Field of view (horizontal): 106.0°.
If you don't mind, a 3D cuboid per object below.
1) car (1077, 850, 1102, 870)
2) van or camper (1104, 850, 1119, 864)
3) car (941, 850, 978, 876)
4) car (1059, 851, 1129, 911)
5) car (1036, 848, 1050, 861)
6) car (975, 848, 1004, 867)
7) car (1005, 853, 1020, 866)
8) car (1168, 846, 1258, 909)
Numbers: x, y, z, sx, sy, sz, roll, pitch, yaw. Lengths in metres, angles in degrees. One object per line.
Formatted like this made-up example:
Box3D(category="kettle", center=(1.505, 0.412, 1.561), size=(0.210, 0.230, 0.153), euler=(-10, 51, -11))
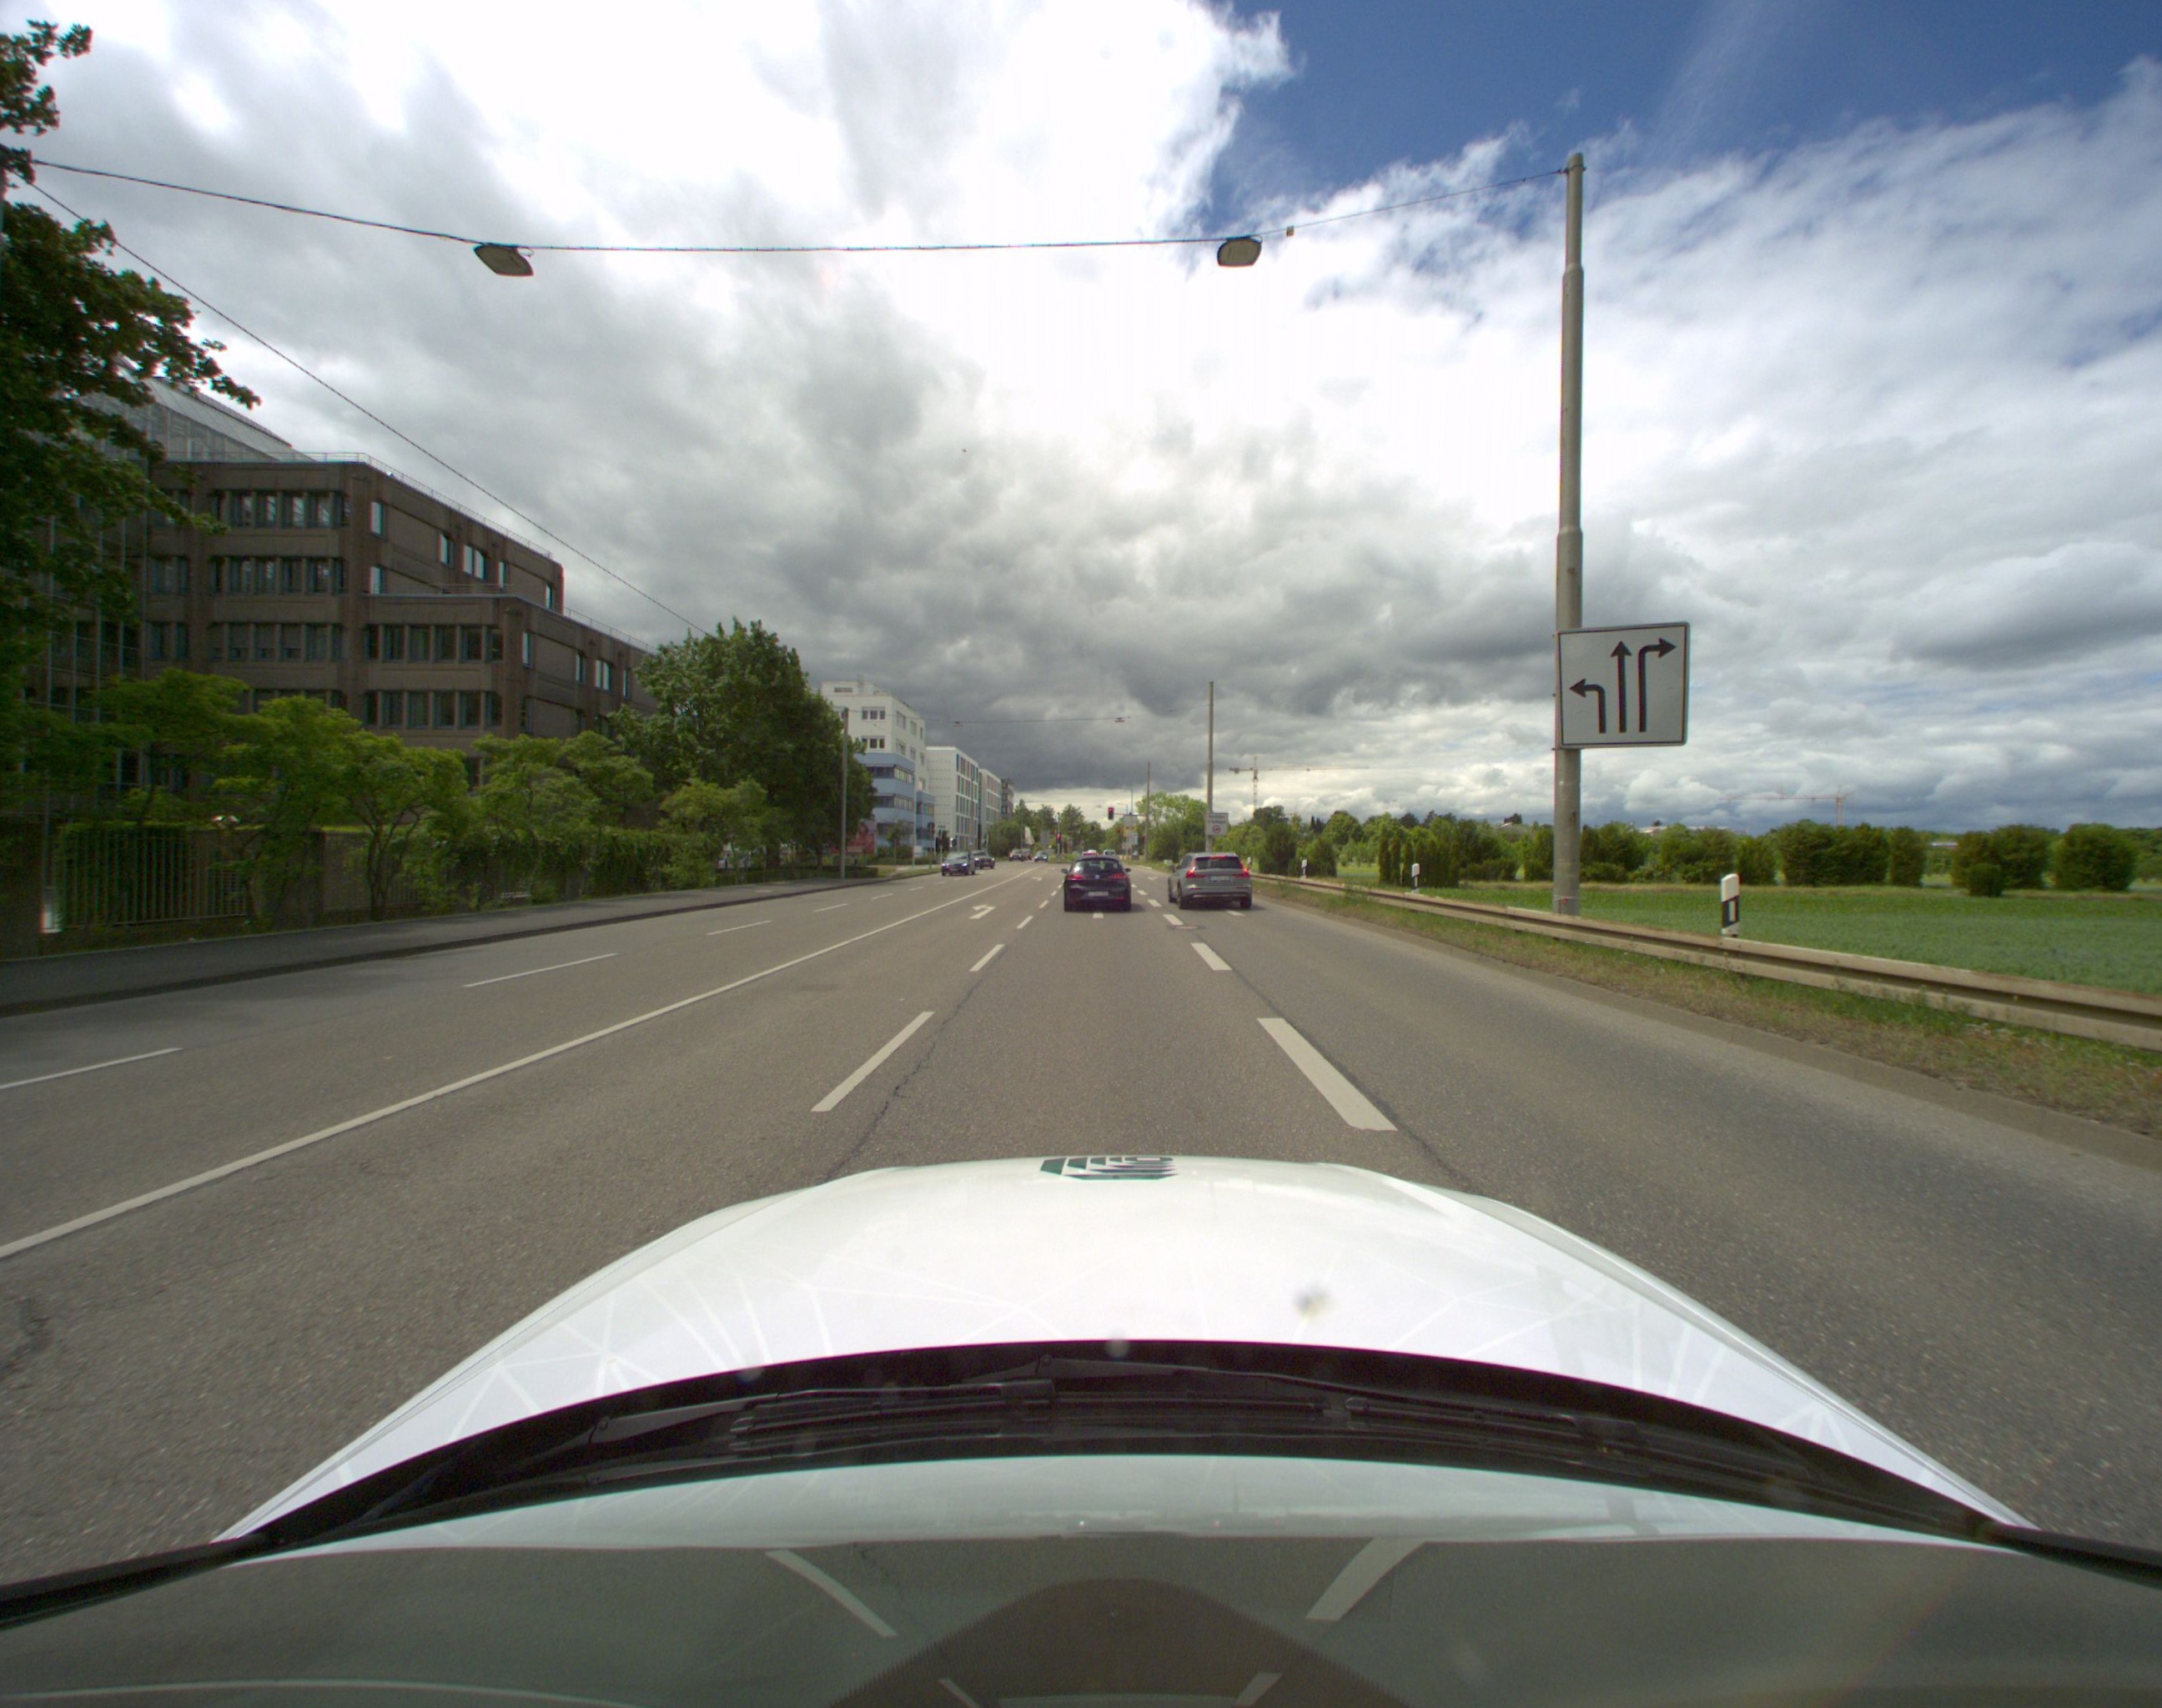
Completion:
Box3D(category="car", center=(0.705, 0.494, 68.206), size=(1.978, 1.590, 4.224), euler=(1, 1, -1))
Box3D(category="van or camper", center=(4.607, 0.442, 122.051), size=(1.895, 1.926, 3.996), euler=(2, 0, -3))
Box3D(category="car", center=(-8.059, 0.597, 54.339), size=(1.791, 1.585, 4.311), euler=(3, 0, -1))
Box3D(category="car", center=(0.426, 0.676, 22.032), size=(1.740, 1.484, 4.003), euler=(0, 0, 3))
Box3D(category="car", center=(-5.147, 0.036, 109.519), size=(1.663, 1.524, 4.007), euler=(-2, 1, -1))
Box3D(category="car", center=(-7.927, 0.328, 70.762), size=(1.861, 1.615, 4.573), euler=(0, 0, 1))
Box3D(category="car", center=(-9.276, 0.745, 110.691), size=(1.746, 1.631, 3.999), euler=(-1, 0, -1))
Box3D(category="car", center=(3.500, 0.595, 22.362), size=(1.950, 1.525, 4.343), euler=(-1, 0, 3))
